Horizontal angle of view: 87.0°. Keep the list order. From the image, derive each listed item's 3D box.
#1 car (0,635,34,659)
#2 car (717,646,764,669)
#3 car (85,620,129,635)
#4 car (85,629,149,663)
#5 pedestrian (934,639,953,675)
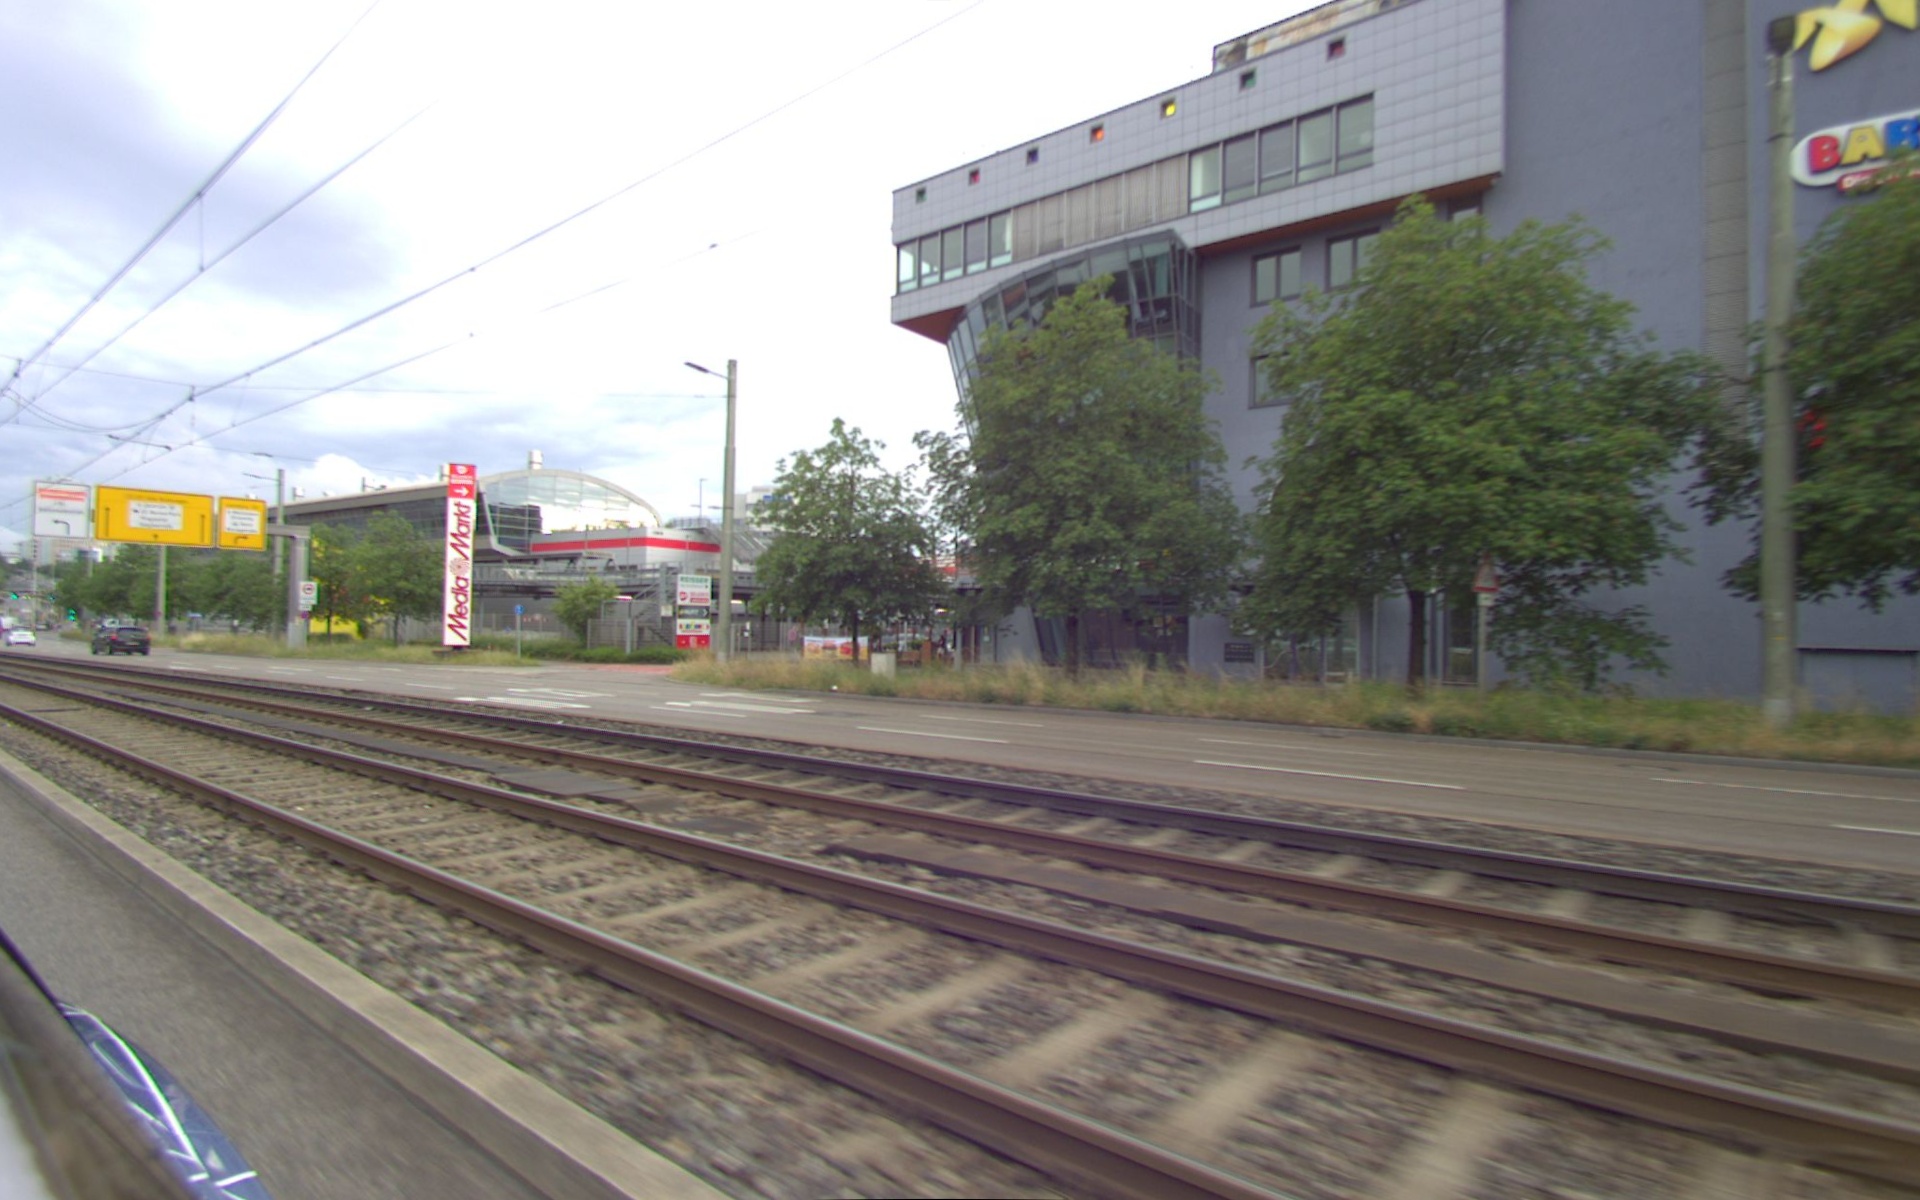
[{"bbox_3d":[-71.197,3.518,76.291,2.949,1.548,1.581,3,-2,41],"label":"car"},{"bbox_3d":[-15.061,3.937,69.658,1.646,1.292,4.095,-1,0,11],"label":"car"},{"bbox_3d":[-136.456,4.404,161.931,1.987,2.350,5.024,-1,-3,23],"label":"car"},{"bbox_3d":[-45.603,2.513,54.721,4.210,1.749,1.972,-3,-6,41],"label":"car"},{"bbox_3d":[-0.812,2.741,48.669,0.579,1.692,0.801,-1,-3,29],"label":"pedestrian"}]
